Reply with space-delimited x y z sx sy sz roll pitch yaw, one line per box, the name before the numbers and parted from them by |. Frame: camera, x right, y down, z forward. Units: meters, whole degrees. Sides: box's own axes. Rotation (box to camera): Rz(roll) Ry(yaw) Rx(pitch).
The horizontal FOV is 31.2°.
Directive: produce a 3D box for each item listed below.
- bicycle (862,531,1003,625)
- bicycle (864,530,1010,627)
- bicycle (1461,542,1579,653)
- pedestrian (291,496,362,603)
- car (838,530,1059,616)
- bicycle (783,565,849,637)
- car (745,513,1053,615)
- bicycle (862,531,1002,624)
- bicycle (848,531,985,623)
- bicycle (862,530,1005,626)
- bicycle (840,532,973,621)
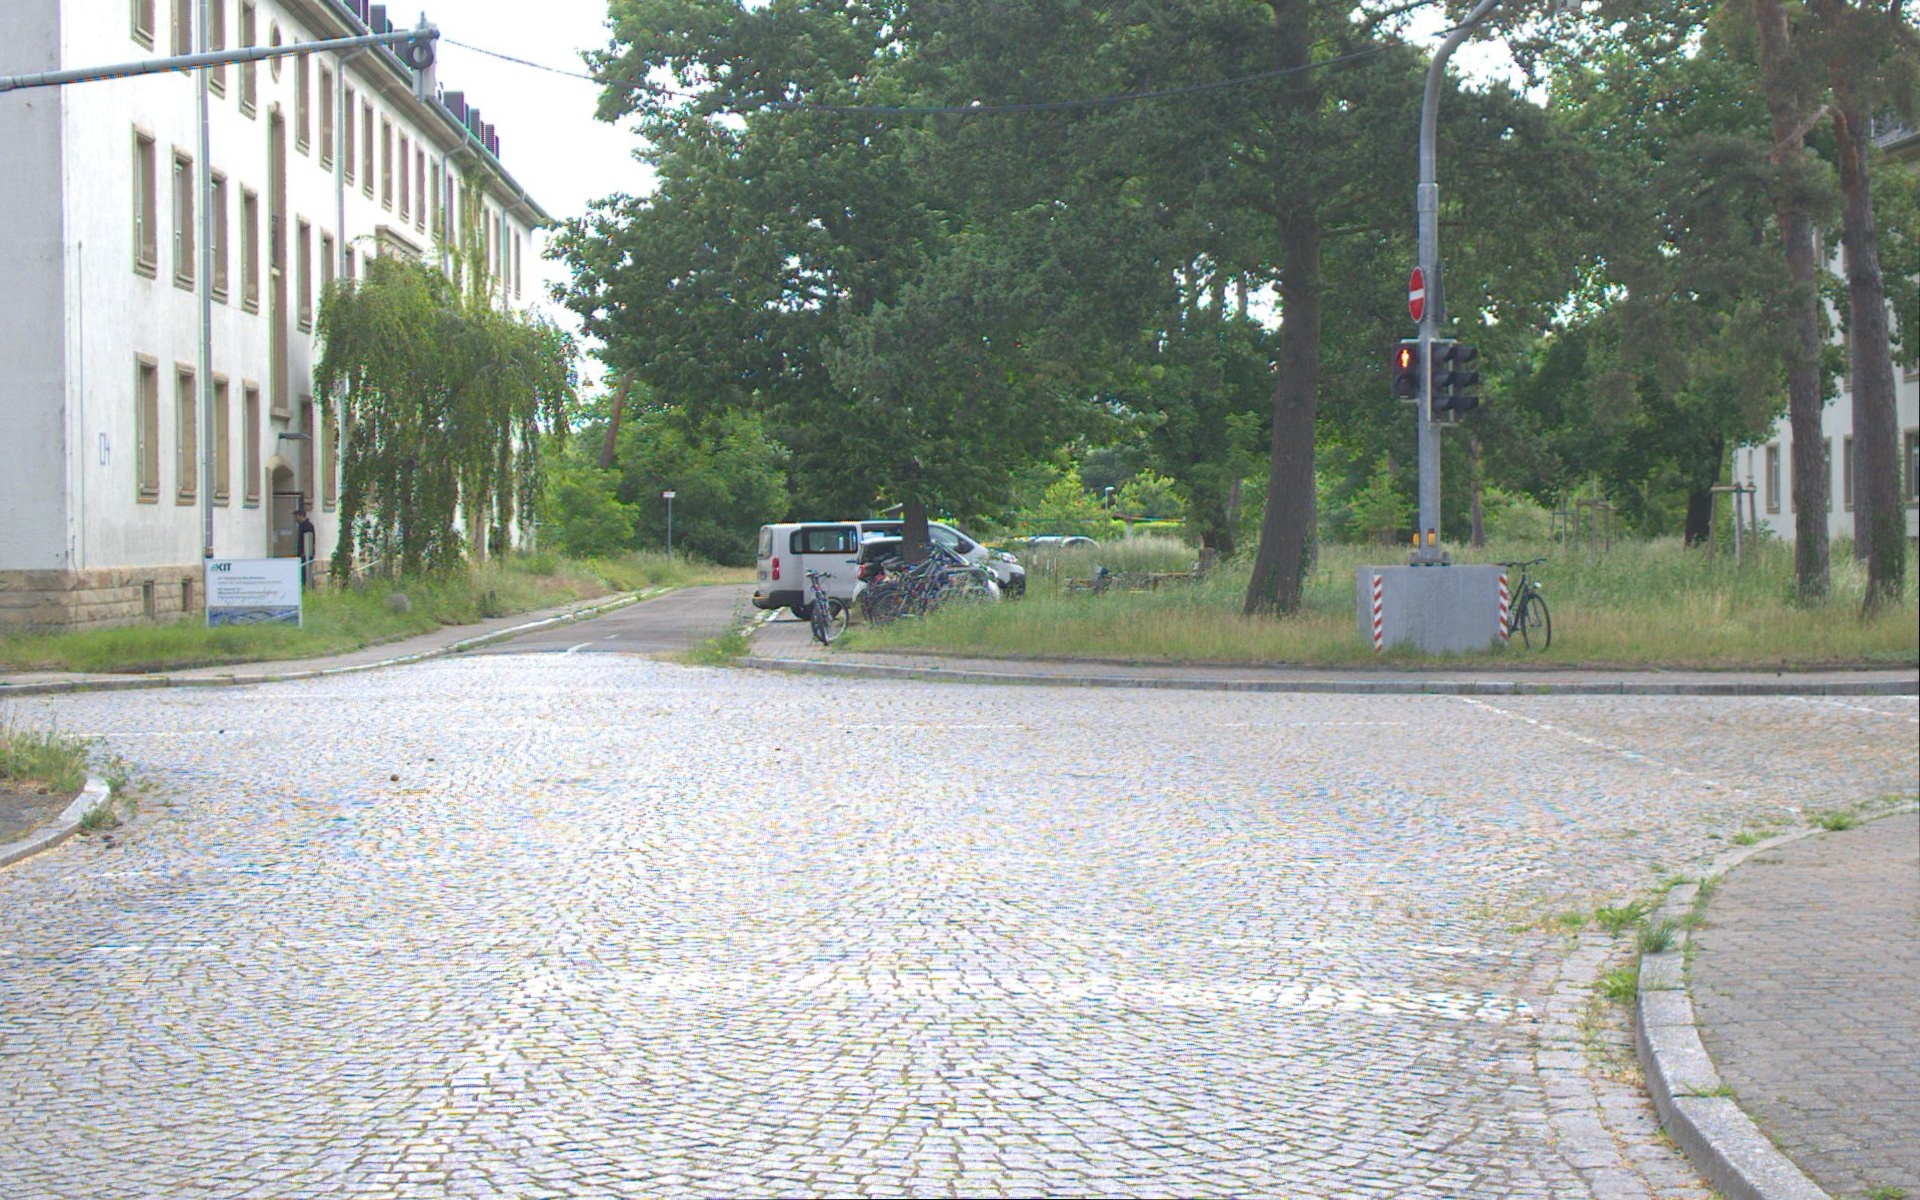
bicycle | -0.407 -0.329 50.682 2.070 1.373 0.620 0 1 0
bicycle | -0.329 -0.311 49.387 2.070 1.373 0.620 0 1 0
bicycle | 6.044 -0.043 37.192 0.908 1.173 1.874 0 1 -2
pedestrian | -11.927 -0.953 64.745 1.087 2.007 1.021 0 1 4
car | -0.239 -0.517 63.910 3.932 1.539 2.000 0 1 -6
bicycle | -1.983 0.003 47.576 0.618 0.960 2.076 0 1 6
car | -1.212 -0.723 67.266 5.690 1.904 2.231 -1 1 -13
bicycle | -0.418 -0.338 51.479 2.070 1.373 0.620 0 1 0
bicycle | -0.663 -0.356 52.274 2.070 1.373 0.620 0 1 0
bicycle | -0.389 -0.321 50.057 2.070 1.373 0.620 0 1 0
bicycle | -0.835 -0.376 53.758 2.070 1.373 0.620 0 1 0
